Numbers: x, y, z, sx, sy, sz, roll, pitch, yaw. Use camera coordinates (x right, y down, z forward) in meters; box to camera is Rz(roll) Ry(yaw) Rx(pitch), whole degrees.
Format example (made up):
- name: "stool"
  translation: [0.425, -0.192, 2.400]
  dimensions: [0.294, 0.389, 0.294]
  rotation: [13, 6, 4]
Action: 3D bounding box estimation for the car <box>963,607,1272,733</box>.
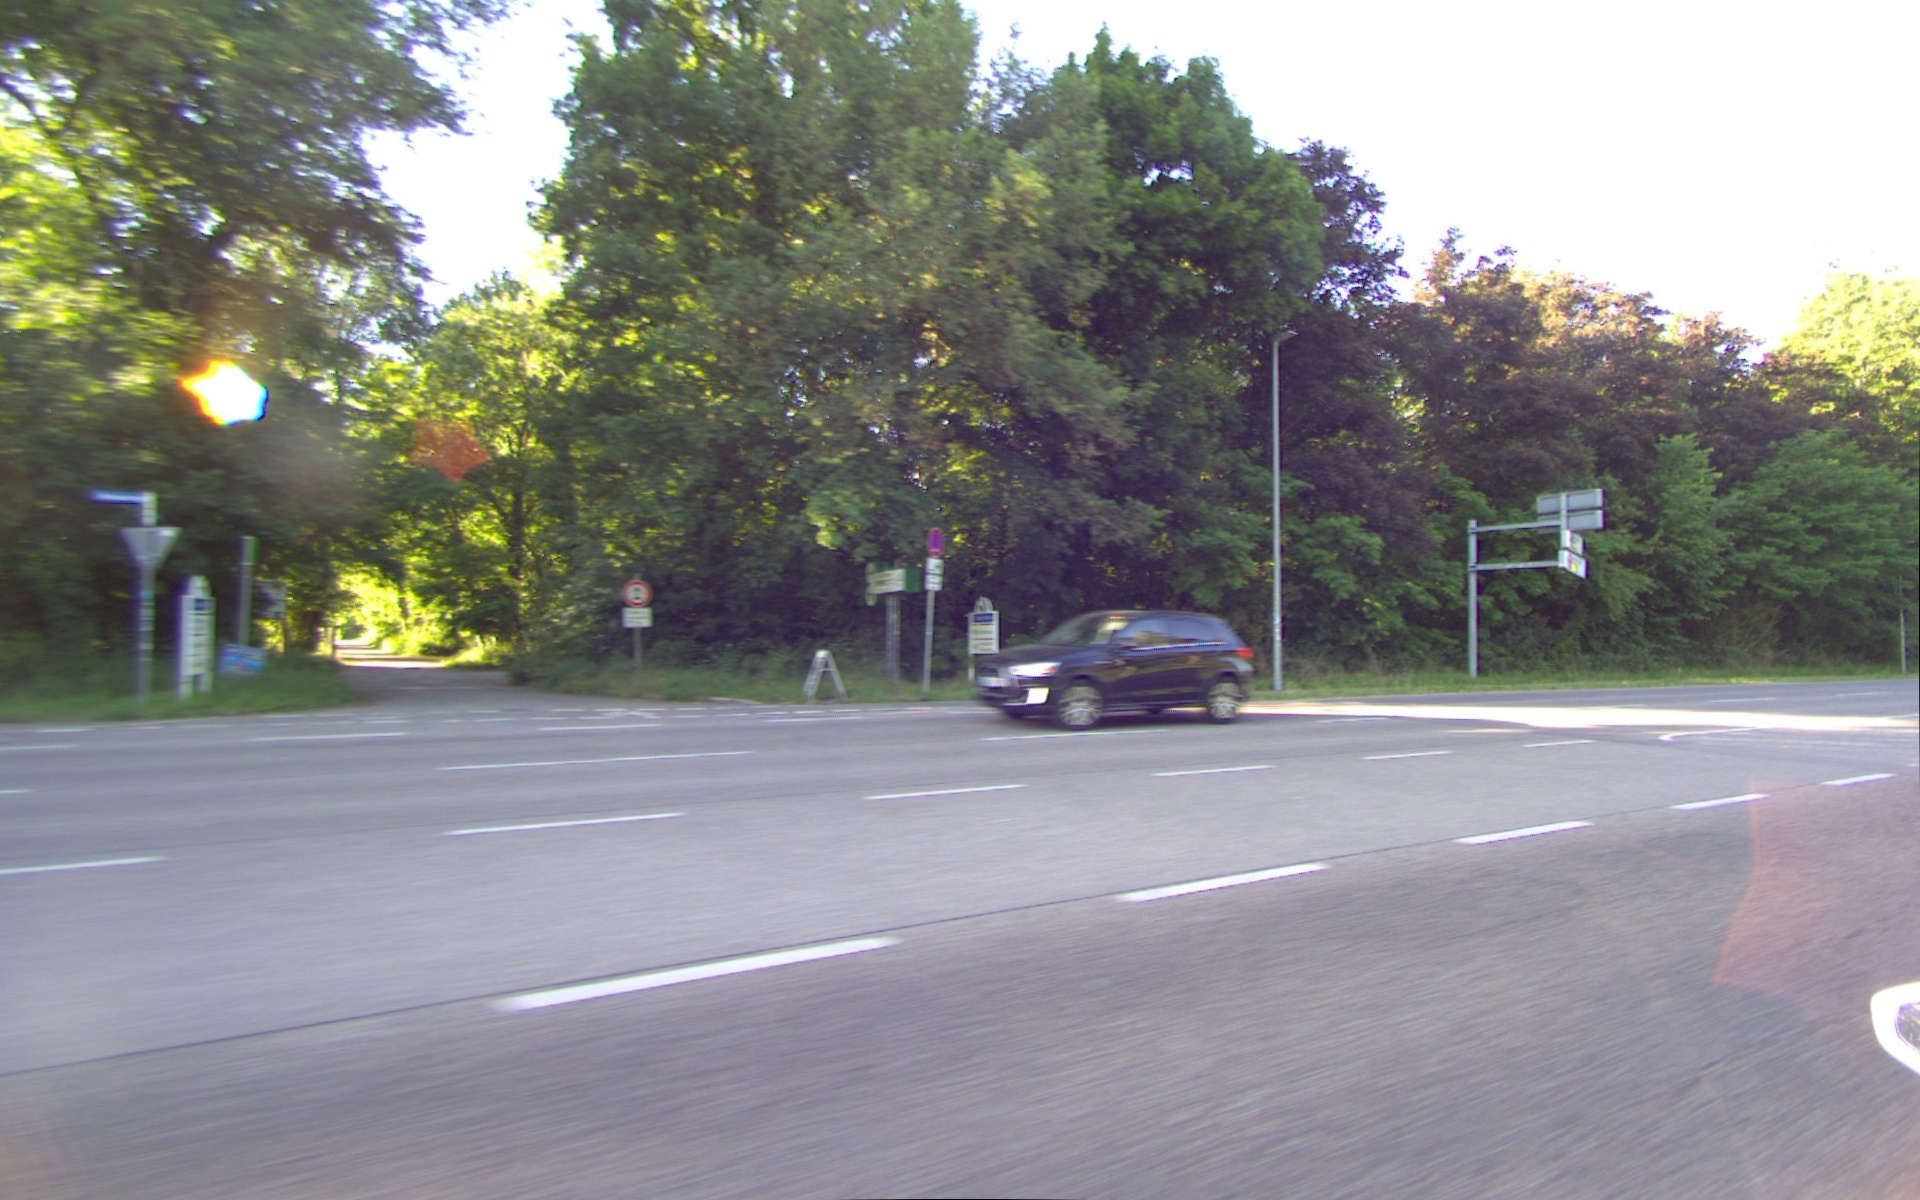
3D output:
- name: "car"
  translation: [2.347, 0.950, 14.659]
  dimensions: [4.300, 1.610, 1.816]
  rotation: [2, -1, -30]
